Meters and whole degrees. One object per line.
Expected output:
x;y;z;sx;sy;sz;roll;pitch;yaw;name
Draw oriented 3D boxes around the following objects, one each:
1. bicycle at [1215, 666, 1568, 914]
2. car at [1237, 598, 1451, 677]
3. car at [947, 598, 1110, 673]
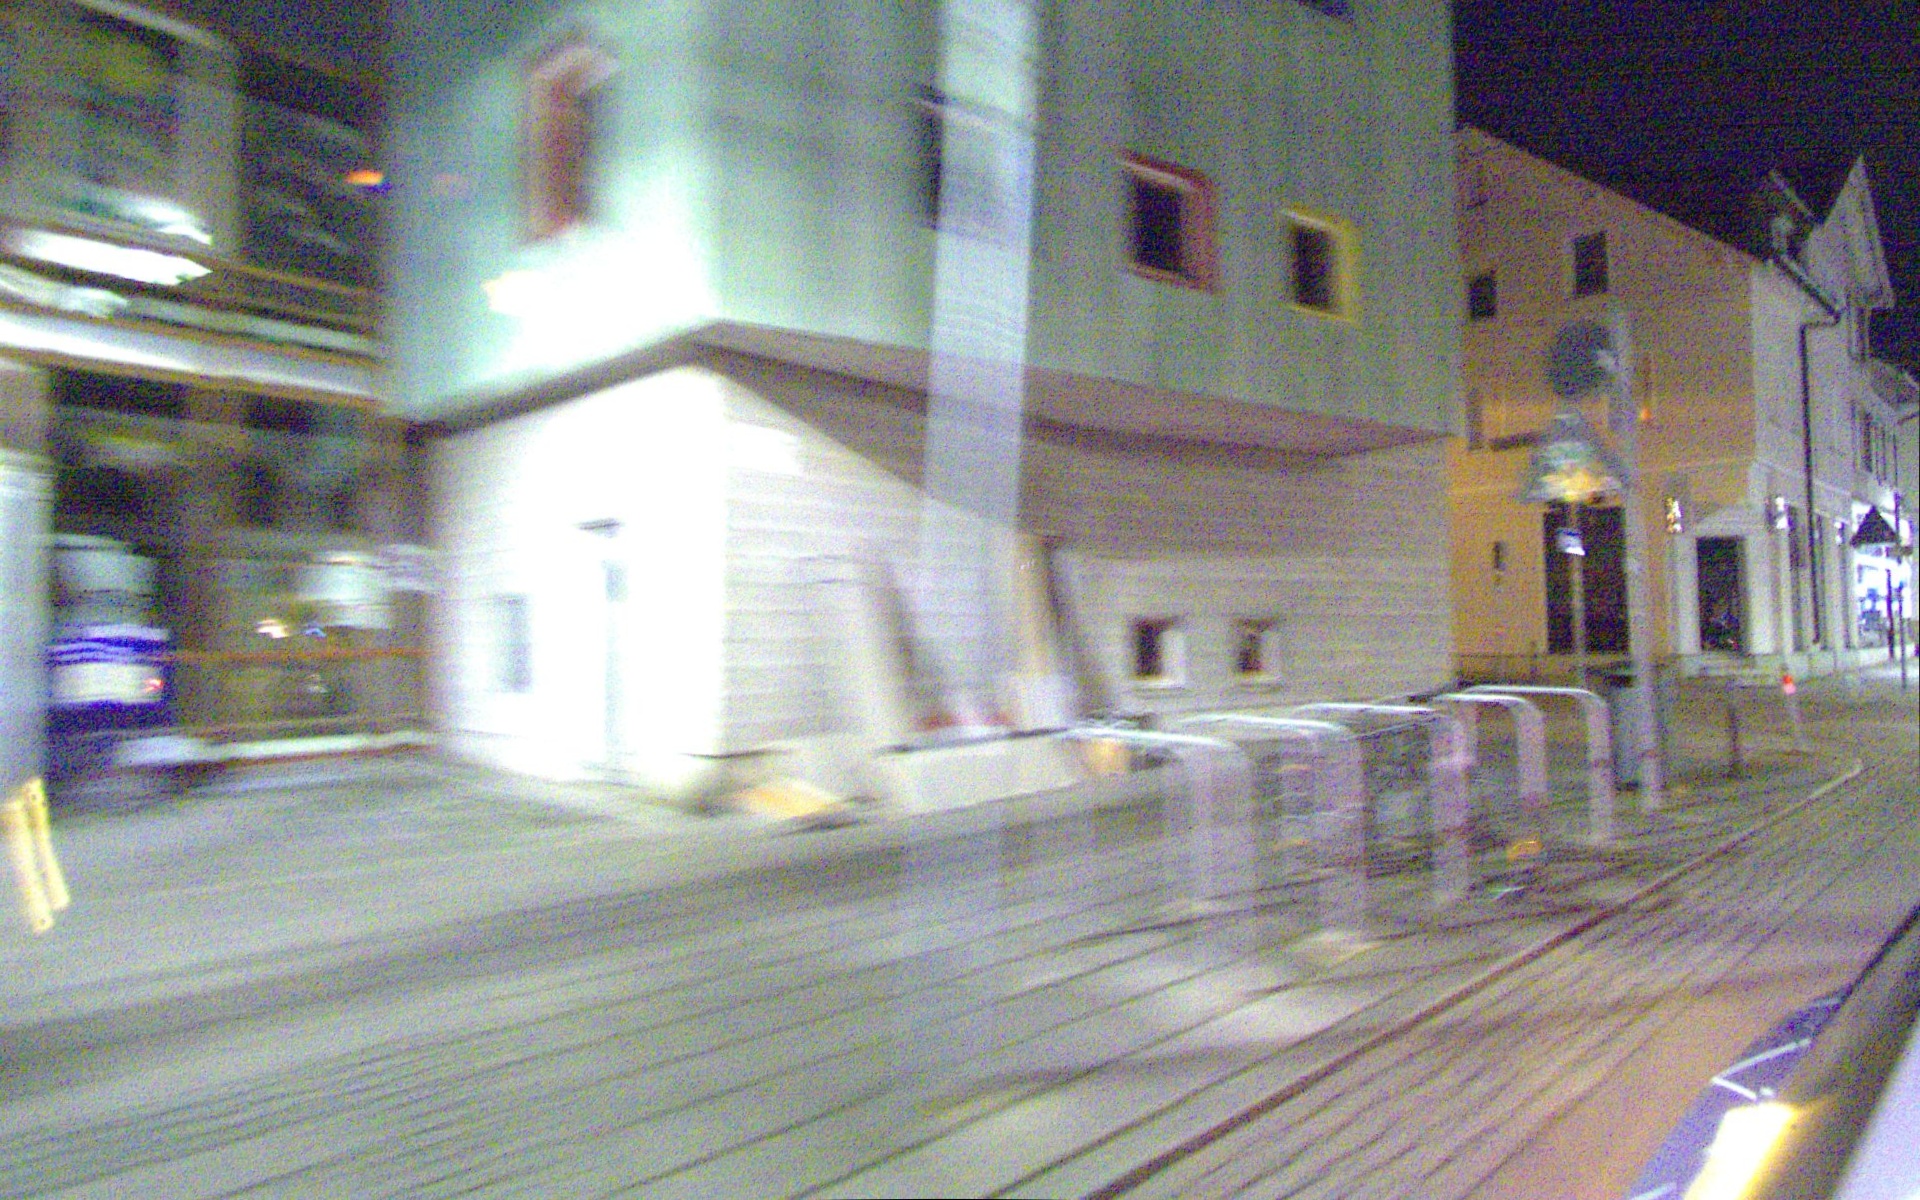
2.230;0.930;5.455;0.340;1.076;1.756;1;-2;-42;bicycle
8.830;0.827;23.556;1.865;1.660;4.315;3;-2;-38;car
1.536;0.790;23.794;1.632;1.608;3.859;0;-1;-40;car
